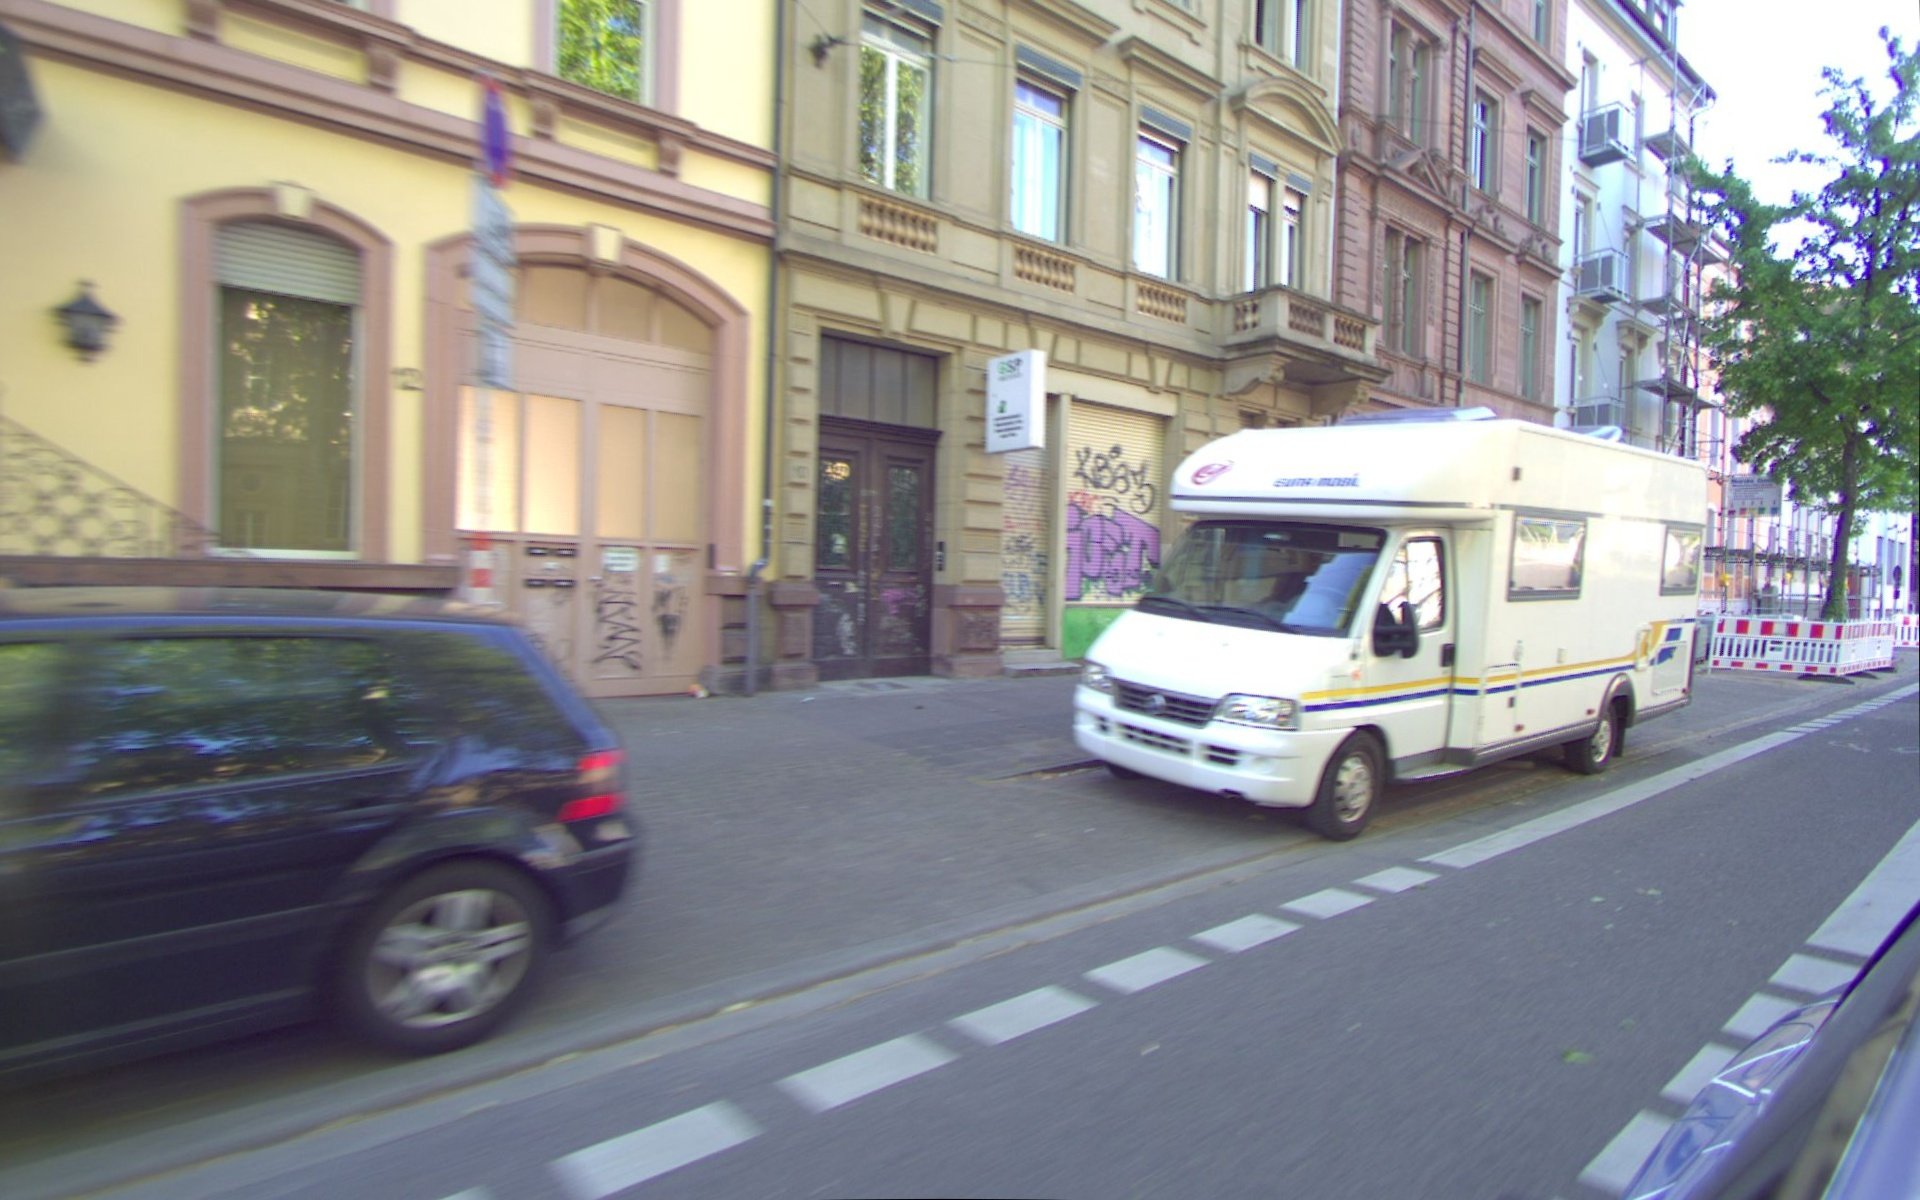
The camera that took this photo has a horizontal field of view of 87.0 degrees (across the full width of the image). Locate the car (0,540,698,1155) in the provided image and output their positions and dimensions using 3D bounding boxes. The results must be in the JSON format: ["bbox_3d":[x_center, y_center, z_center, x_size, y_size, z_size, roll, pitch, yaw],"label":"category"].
[{"bbox_3d":[-2.996,0.582,2.996,3.957,1.451,1.650,-1,5,-40],"label":"car"}]

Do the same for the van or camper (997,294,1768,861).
[{"bbox_3d":[4.138,-0.240,8.731,7.739,3.007,2.486,-1,5,-38],"label":"van or camper"}]
